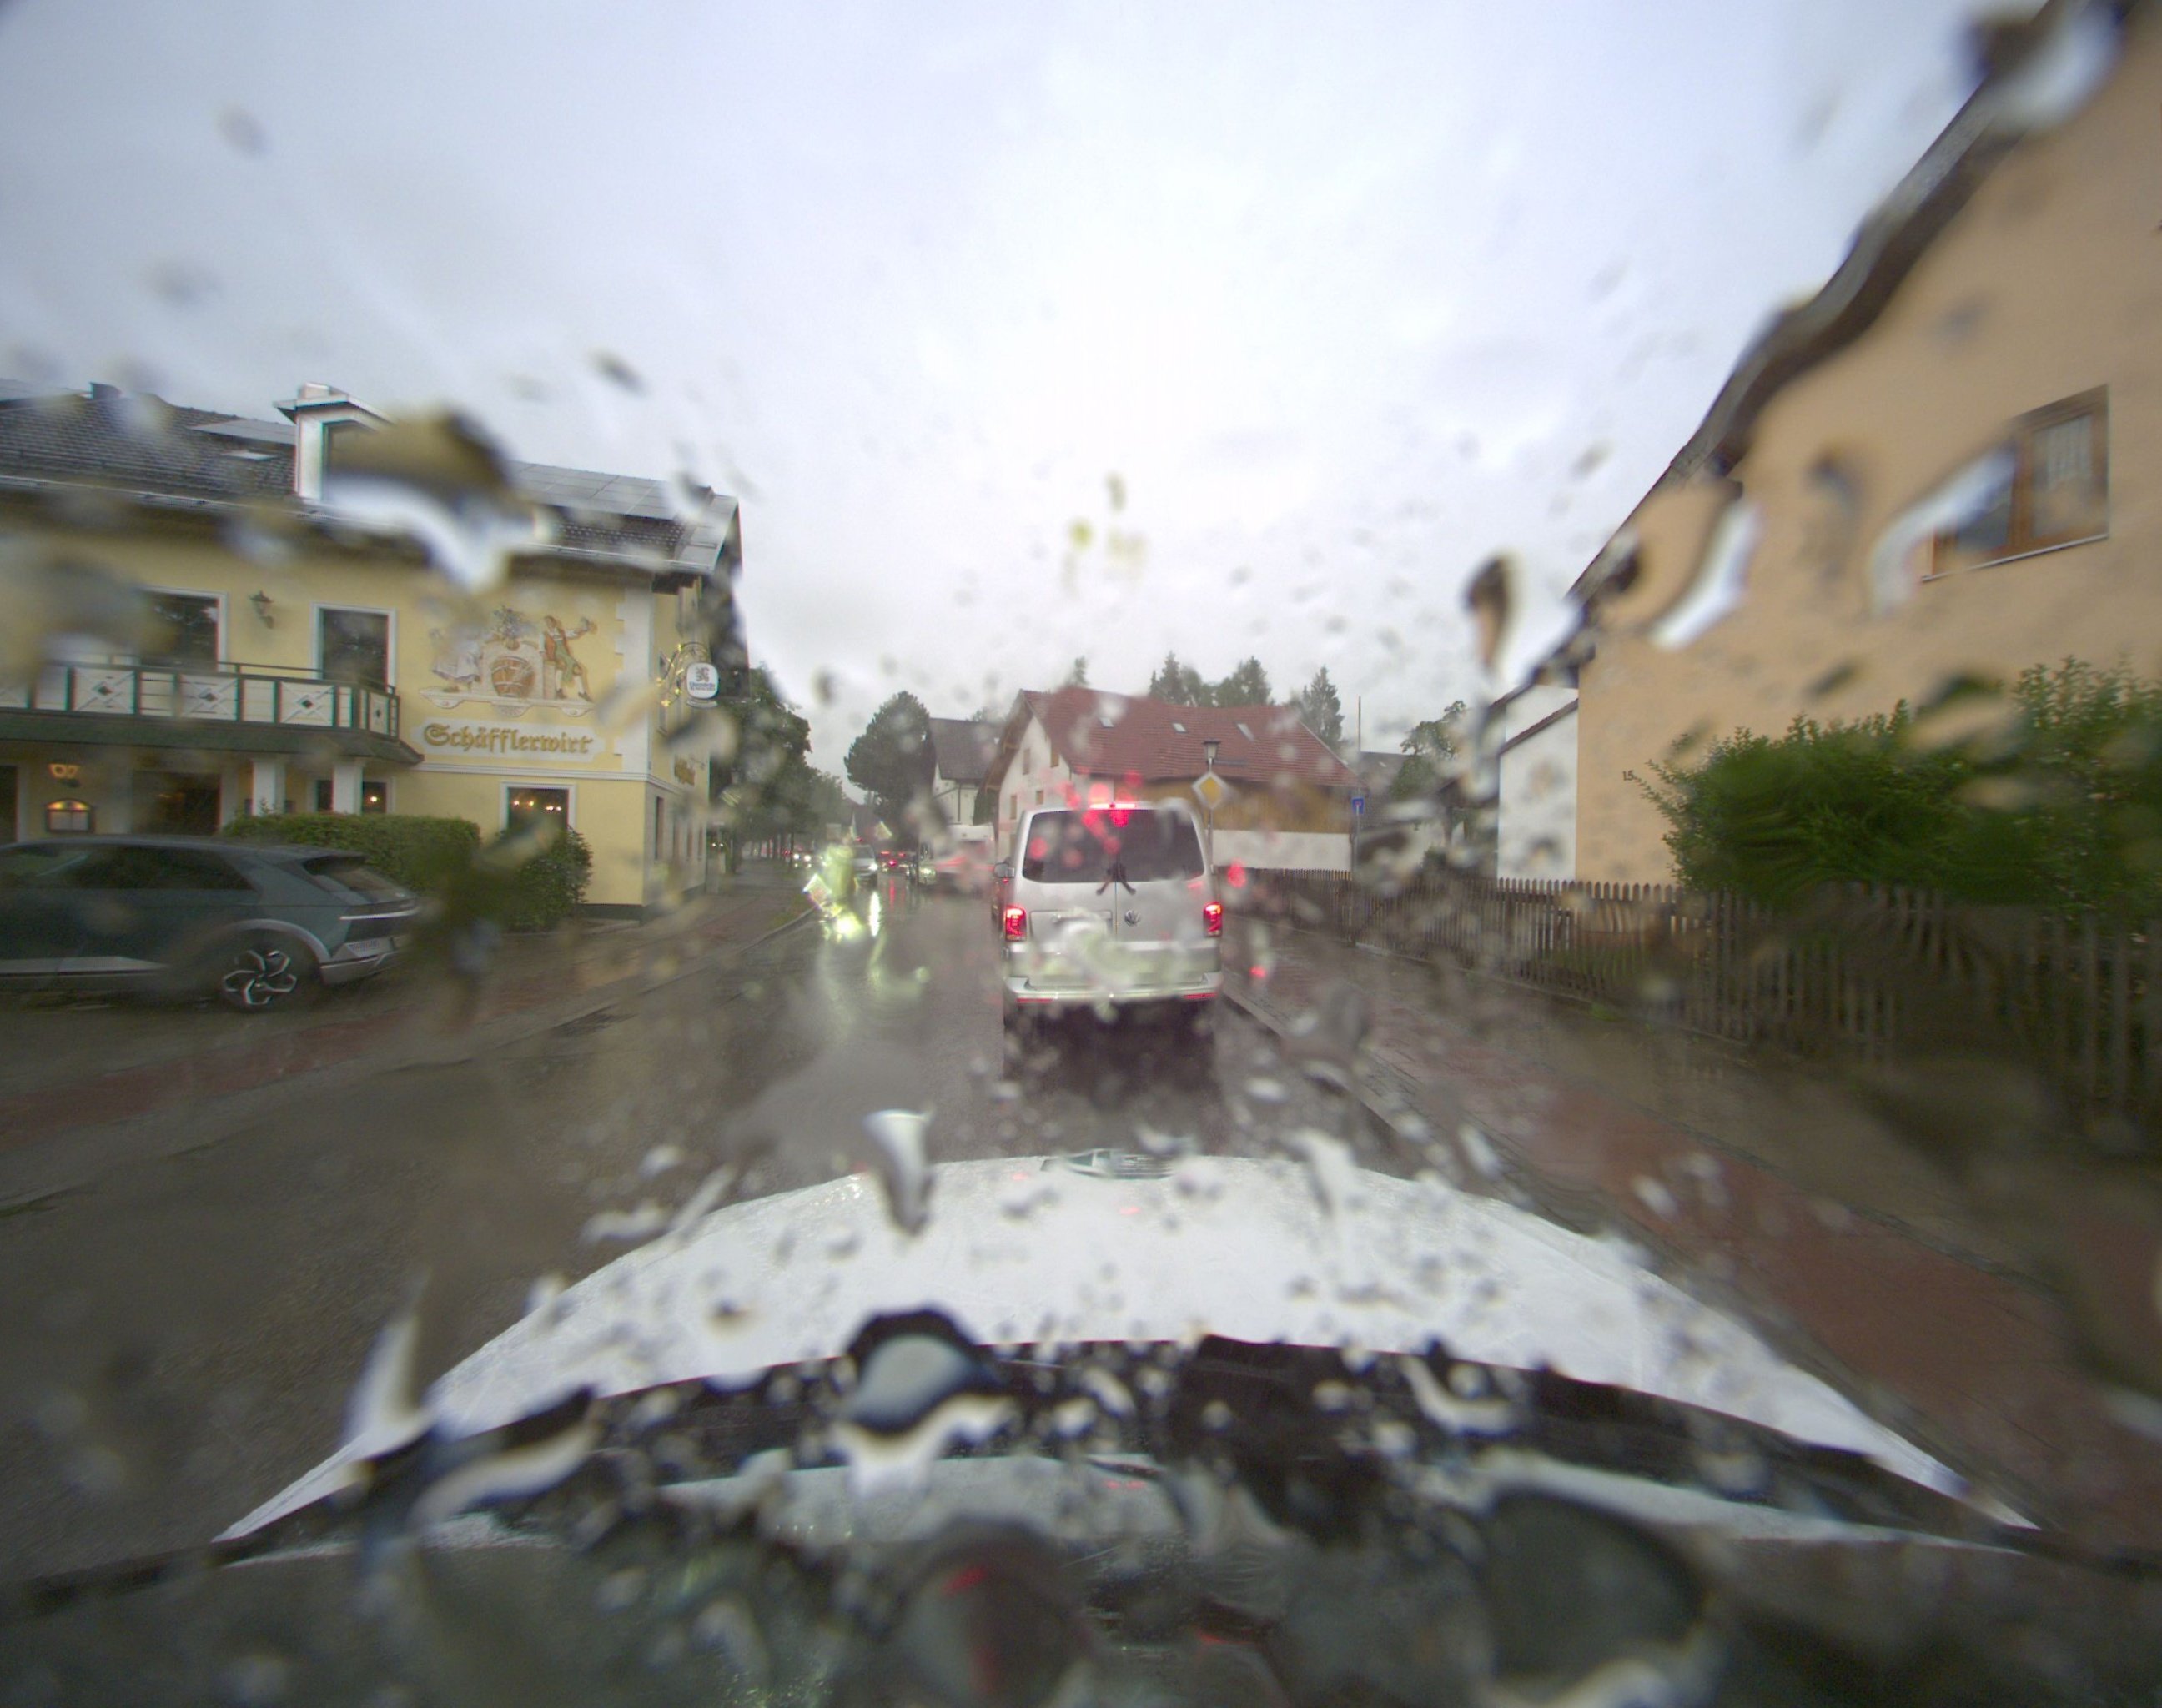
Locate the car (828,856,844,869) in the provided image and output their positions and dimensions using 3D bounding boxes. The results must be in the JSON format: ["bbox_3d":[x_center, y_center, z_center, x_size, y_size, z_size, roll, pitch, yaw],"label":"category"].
[{"bbox_3d":[-39.233,1.406,130.301,2.176,1.899,4.981,1,0,-19],"label":"car"}]

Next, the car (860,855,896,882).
[{"bbox_3d":[-15.554,1.104,62.276,2.176,1.899,4.981,1,0,-19],"label":"car"}]

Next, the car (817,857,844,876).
[{"bbox_3d":[-19.377,0.950,62.893,1.868,1.359,4.454,-1,1,-19],"label":"car"}]

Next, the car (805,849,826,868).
[{"bbox_3d":[-26.779,0.476,82.243,1.867,1.758,4.455,-3,1,-18],"label":"car"}]

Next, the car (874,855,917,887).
[{"bbox_3d":[-12.222,1.086,53.554,2.176,1.899,4.981,1,0,-19],"label":"car"}]

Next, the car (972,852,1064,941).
[{"bbox_3d":[-1.378,0.810,17.995,1.705,1.584,4.679,-2,1,-4],"label":"car"}]

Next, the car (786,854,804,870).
[{"bbox_3d":[-35.205,0.971,100.376,1.867,1.758,4.455,-3,1,-18],"label":"car"}]

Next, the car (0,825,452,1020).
[{"bbox_3d":[-9.208,0.615,7.891,4.492,1.567,1.826,4,1,-22],"label":"car"}]

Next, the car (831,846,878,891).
[{"bbox_3d":[-10.834,0.684,38.765,1.856,1.971,4.672,-1,-1,-19],"label":"car"}]

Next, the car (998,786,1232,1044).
[{"bbox_3d":[0.342,0.480,8.797,1.770,1.963,5.076,-1,0,2],"label":"car"}]

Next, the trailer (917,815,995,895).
[{"bbox_3d":[-5.134,0.039,32.610,2.276,2.904,6.098,0,0,-16],"label":"trailer"}]
